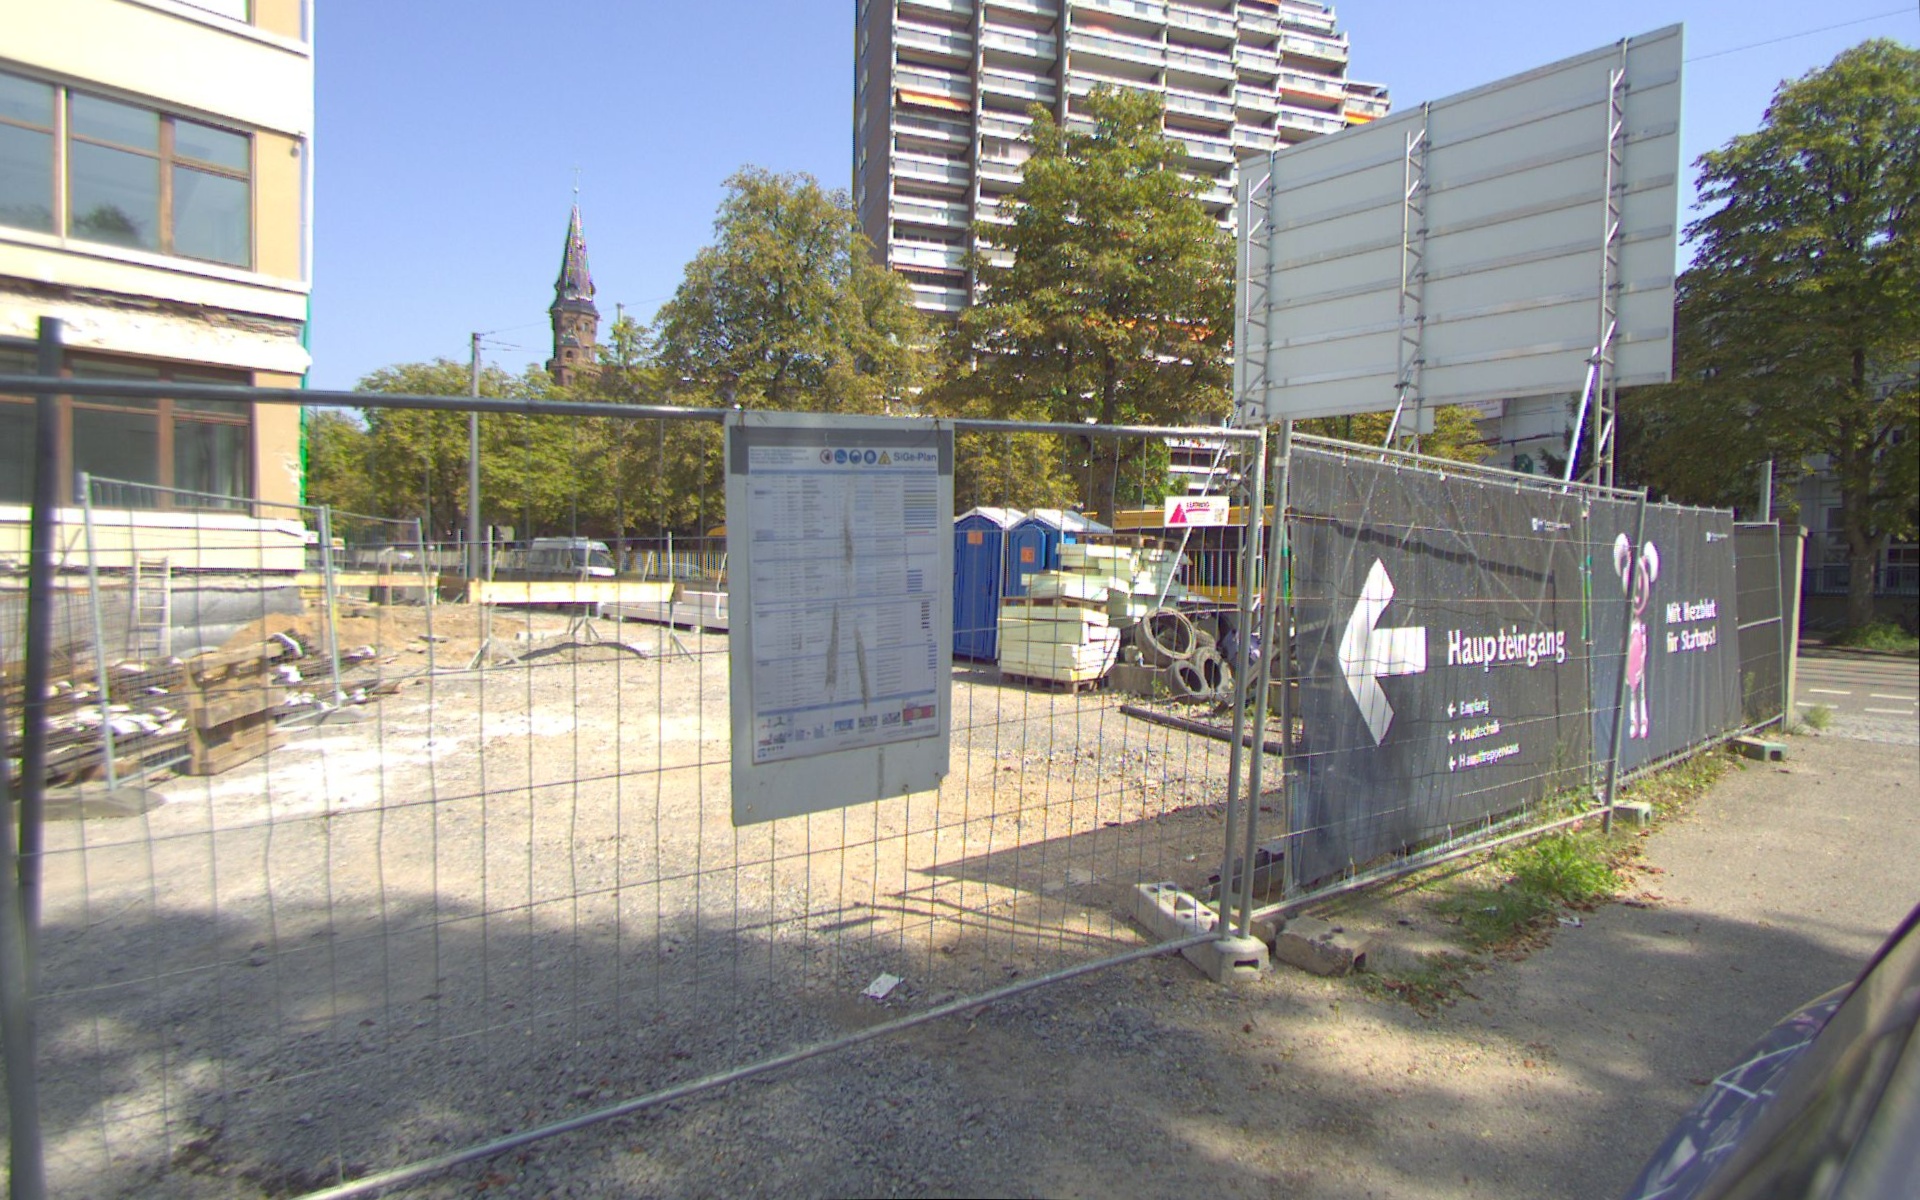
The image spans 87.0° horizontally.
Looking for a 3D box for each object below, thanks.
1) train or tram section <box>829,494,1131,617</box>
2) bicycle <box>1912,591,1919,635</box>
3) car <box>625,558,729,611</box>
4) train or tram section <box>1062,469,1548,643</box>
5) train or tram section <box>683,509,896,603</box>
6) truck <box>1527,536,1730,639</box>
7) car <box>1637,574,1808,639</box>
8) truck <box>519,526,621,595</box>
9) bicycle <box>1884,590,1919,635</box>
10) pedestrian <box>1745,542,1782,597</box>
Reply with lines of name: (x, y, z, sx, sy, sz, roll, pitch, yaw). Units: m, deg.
train or tram section: (0.209, -1.591, 36.734, 3.449, 3.750, 12.389, -1, 2, -42)
bicycle: (27.412, 0.341, 28.047, 2.297, 1.173, 0.603, -1, 3, -24)
car: (-9.701, -0.545, 34.501, 1.651, 1.599, 4.163, 2, 1, -43)
train or tram section: (8.544, -1.173, 27.512, 3.449, 3.750, 12.389, -1, 2, -42)
train or tram section: (-8.106, -1.983, 45.947, 3.449, 3.750, 12.389, -1, 2, -42)
truck: (17.945, -0.383, 27.641, 2.114, 2.464, 5.958, 2, 2, 7)
car: (20.071, 0.102, 26.865, 1.689, 1.526, 3.858, 2, 2, 3)
truck: (-16.080, -1.653, 41.570, 1.892, 2.631, 5.579, -1, 3, -44)
bicycle: (27.173, 0.329, 28.631, 2.297, 1.173, 0.603, -1, 3, -24)
pedestrian: (27.177, -1.024, 34.232, 0.732, 1.809, 0.823, 2, 1, 24)
